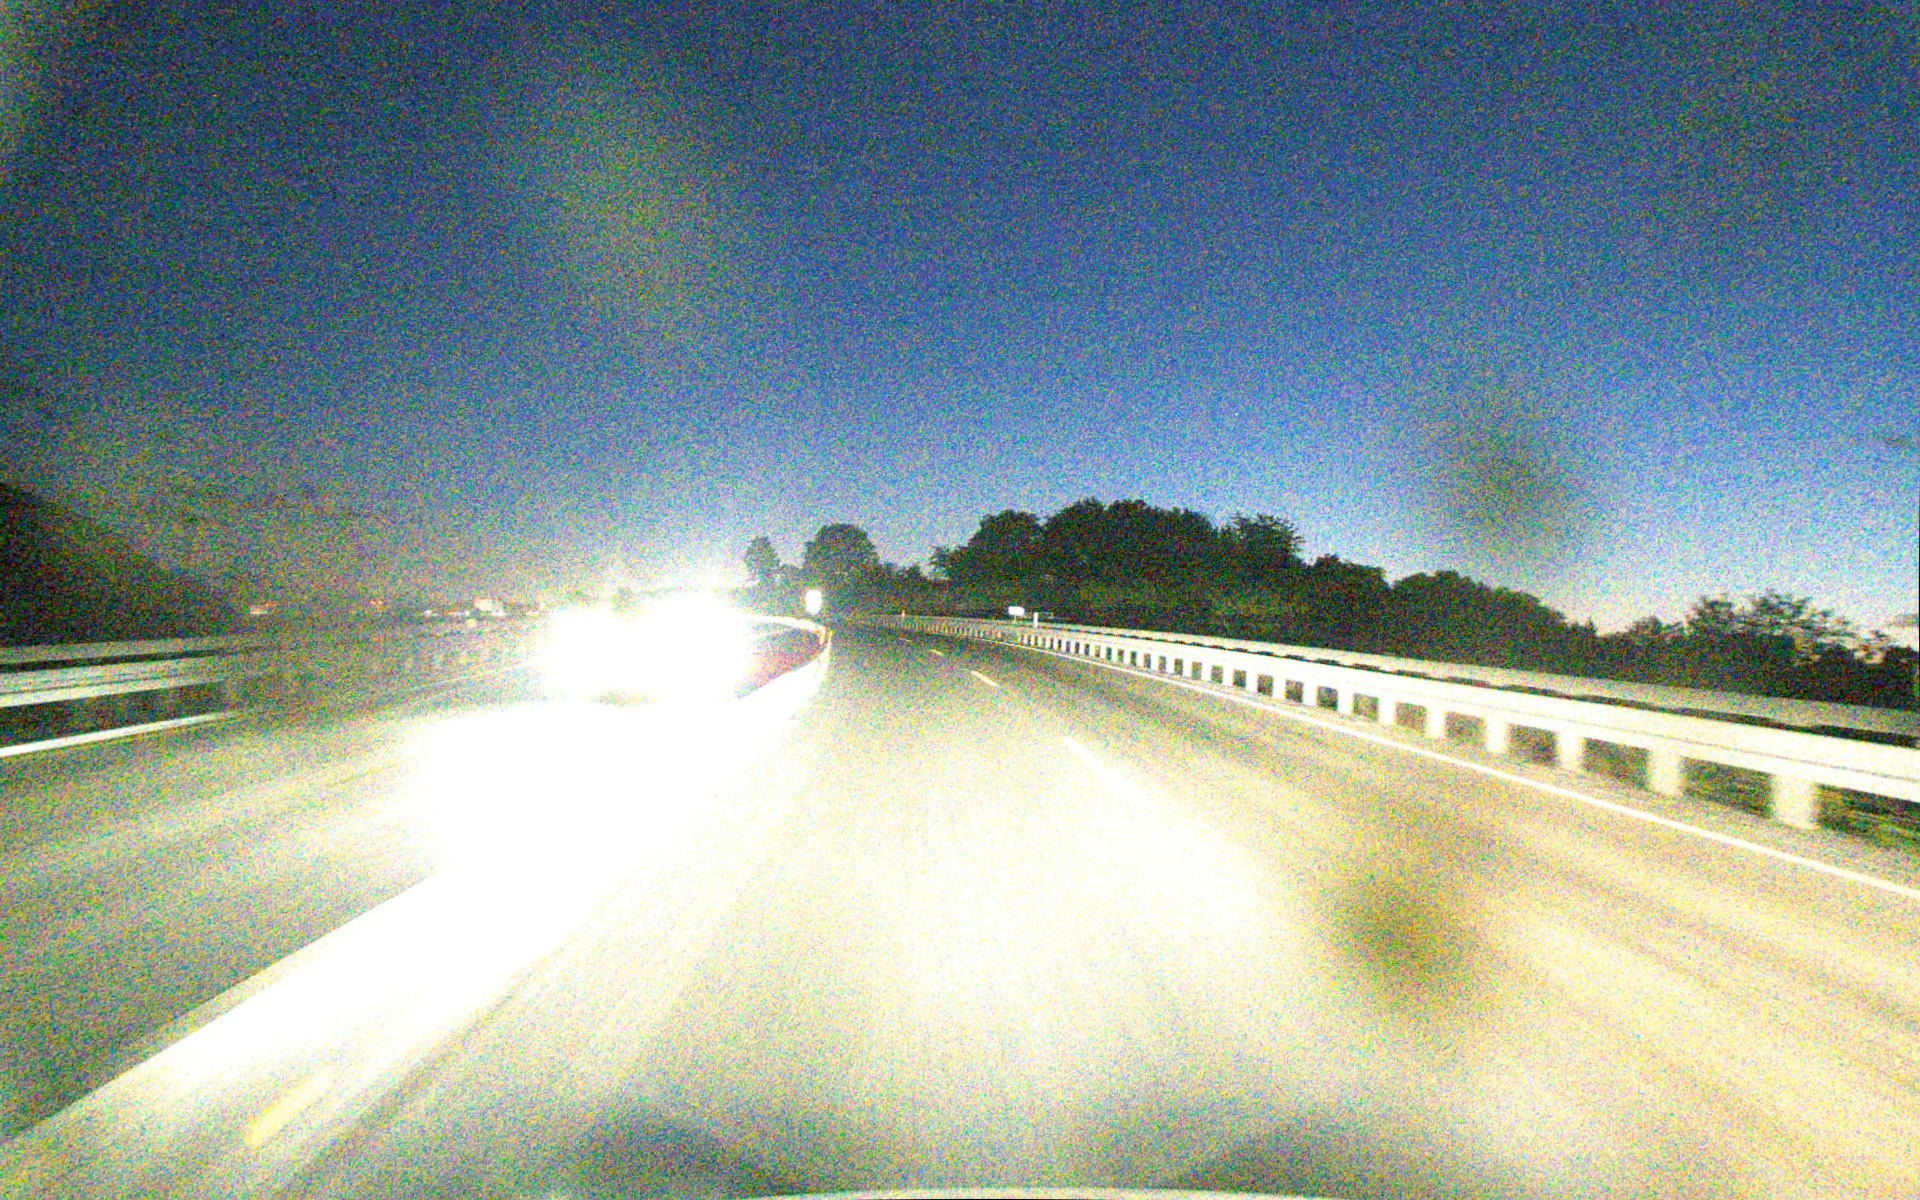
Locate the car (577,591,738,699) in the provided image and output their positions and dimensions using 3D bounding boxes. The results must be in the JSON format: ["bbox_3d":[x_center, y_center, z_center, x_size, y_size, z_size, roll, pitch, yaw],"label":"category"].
[{"bbox_3d":[-4.696,0.693,26.268,1.782,1.542,4.521,-1,-1,-1],"label":"car"}]
